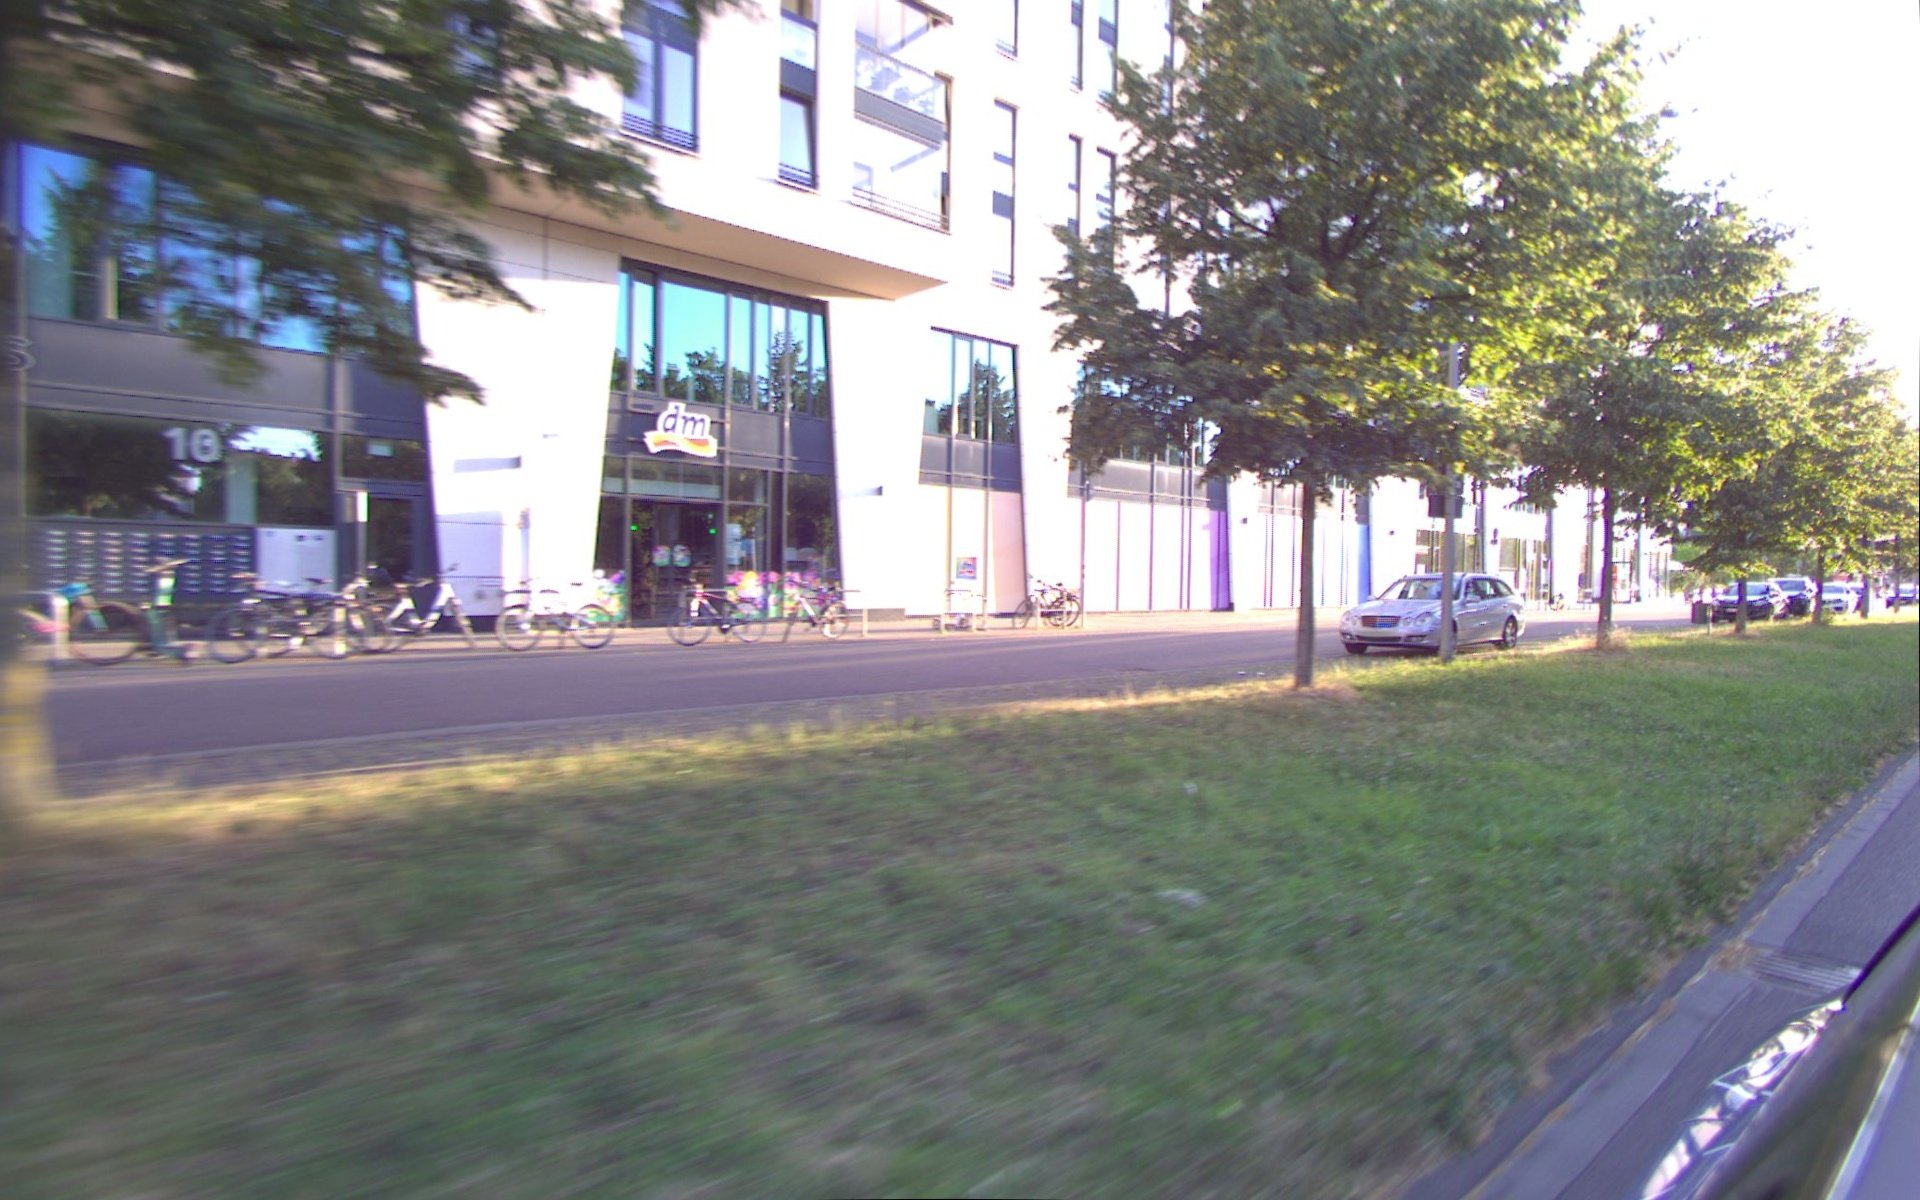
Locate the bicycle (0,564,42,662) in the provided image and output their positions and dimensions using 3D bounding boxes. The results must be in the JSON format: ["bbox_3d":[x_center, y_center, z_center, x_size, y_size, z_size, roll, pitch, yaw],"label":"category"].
[{"bbox_3d":[-11.292,0.151,11.074,1.825,1.073,0.534,-1,4,-41],"label":"bicycle"}]

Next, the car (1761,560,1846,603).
[{"bbox_3d":[34.041,-0.736,40.811,4.738,1.644,1.956,-1,0,-42],"label":"car"}]

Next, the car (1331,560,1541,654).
[{"bbox_3d":[8.869,0.057,18.655,4.743,1.519,1.811,-1,2,-42],"label":"car"}]

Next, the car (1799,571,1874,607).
[{"bbox_3d":[39.358,-0.531,45.408,4.924,1.519,1.924,-1,2,-42],"label":"car"}]

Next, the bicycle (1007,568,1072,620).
[{"bbox_3d":[1.781,-0.151,22.464,0.532,1.073,1.833,4,4,36],"label":"bicycle"}]

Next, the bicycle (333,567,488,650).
[{"bbox_3d":[-7.631,0.091,14.097,1.825,1.073,0.534,-1,4,-41],"label":"bicycle"}]

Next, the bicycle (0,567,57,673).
[{"bbox_3d":[-10.411,0.212,10.307,0.532,1.073,1.756,4,4,39],"label":"bicycle"}]

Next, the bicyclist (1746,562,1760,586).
[{"bbox_3d":[54.085,-1.759,69.021,1.001,1.588,0.546,-1,2,-38],"label":"bicyclist"}]

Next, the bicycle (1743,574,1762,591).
[{"bbox_3d":[54.074,-1.174,69.040,1.878,1.132,0.544,-1,2,-38],"label":"bicycle"}]

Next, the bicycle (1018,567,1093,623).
[{"bbox_3d":[2.094,-0.123,22.142,1.750,1.178,0.539,-1,4,-41],"label":"bicycle"}]

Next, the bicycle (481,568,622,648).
[{"bbox_3d":[-5.941,0.094,14.787,1.825,1.073,0.534,-1,4,-41],"label":"bicycle"}]

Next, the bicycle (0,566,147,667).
[{"bbox_3d":[-10.214,0.167,11.238,1.825,1.074,0.534,-1,2,-41],"label":"bicycle"}]

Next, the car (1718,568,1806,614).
[{"bbox_3d":[28.579,-0.334,36.040,4.159,1.519,1.727,-1,1,-41],"label":"car"}]

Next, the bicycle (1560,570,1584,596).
[{"bbox_3d":[26.359,-0.746,43.579,0.533,1.073,1.587,2,2,43],"label":"bicycle"}]

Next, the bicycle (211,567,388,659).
[{"bbox_3d":[-8.313,0.141,12.789,1.825,1.073,0.534,-1,4,-41],"label":"bicycle"}]

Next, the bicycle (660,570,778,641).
[{"bbox_3d":[-3.914,0.069,16.514,1.825,1.073,0.534,-1,4,-41],"label":"bicycle"}]

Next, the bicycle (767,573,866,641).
[{"bbox_3d":[-2.428,0.090,17.321,0.532,1.073,1.833,4,4,36],"label":"bicycle"}]

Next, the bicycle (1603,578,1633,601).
[{"bbox_3d":[30.642,-0.499,47.130,2.223,1.046,0.621,-1,3,-43],"label":"bicycle"}]

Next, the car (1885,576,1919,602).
[{"bbox_3d":[62.002,-0.727,65.923,4.288,1.519,1.814,-1,4,-38],"label":"car"}]
